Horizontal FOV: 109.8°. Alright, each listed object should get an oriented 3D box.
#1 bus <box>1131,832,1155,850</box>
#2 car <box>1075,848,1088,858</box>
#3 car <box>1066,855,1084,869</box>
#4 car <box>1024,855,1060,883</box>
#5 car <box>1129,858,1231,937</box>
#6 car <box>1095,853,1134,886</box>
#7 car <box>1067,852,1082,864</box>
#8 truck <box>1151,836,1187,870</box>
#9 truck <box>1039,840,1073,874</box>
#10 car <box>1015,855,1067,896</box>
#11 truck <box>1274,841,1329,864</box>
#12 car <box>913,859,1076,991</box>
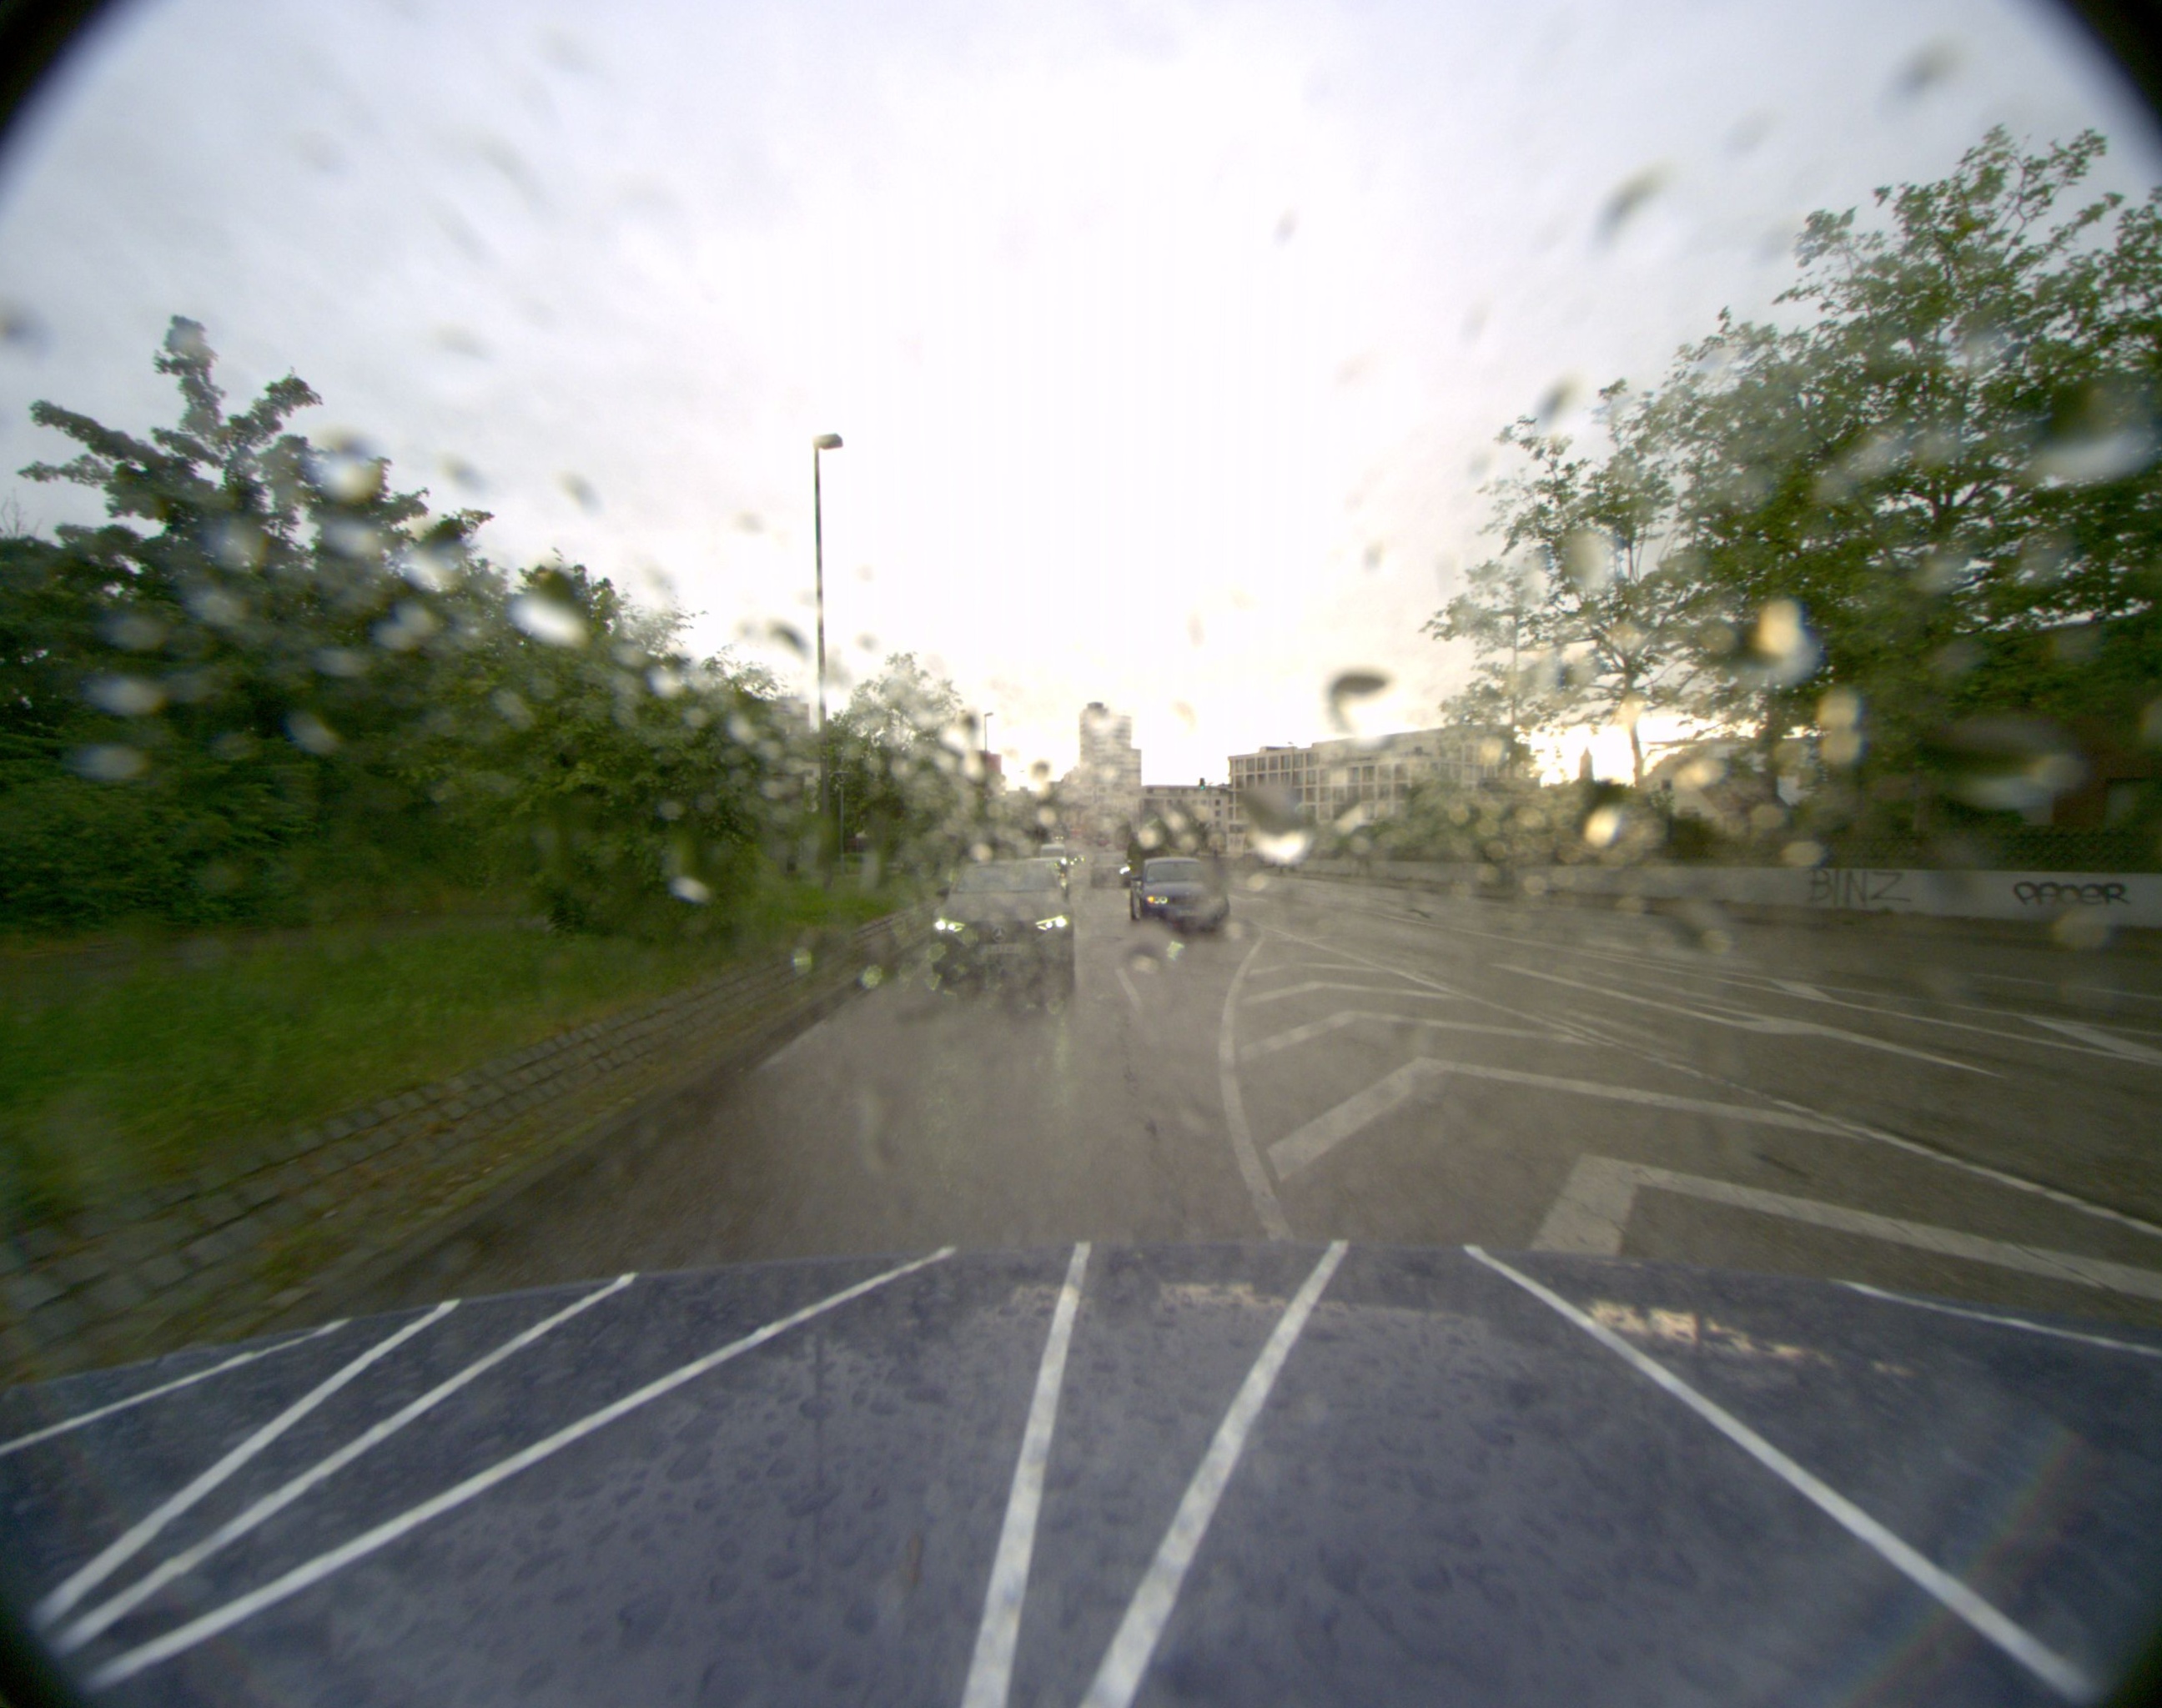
[{"bbox_3d":[14.301,-3.177,177.603,2.952,3.973,18.217,1,1,-4],"label":"bus"},{"bbox_3d":[0.032,-0.198,125.235,1.999,1.543,3.999,-1,0,-1],"label":"car"},{"bbox_3d":[-0.674,0.860,86.388,1.999,1.543,3.999,-1,0,-1],"label":"car"},{"bbox_3d":[-2.194,0.840,43.655,1.718,1.369,3.734,-2,1,2],"label":"car"},{"bbox_3d":[1.975,0.827,16.050,1.787,1.335,3.704,-1,1,2],"label":"car"},{"bbox_3d":[1.621,0.701,36.476,1.718,1.369,3.734,-2,1,2],"label":"car"},{"bbox_3d":[-0.939,0.526,107.503,1.999,1.543,3.999,-1,0,-1],"label":"car"},{"bbox_3d":[6.585,-0.119,57.568,2.168,2.426,6.199,-1,1,2],"label":"truck"},{"bbox_3d":[-1.875,0.144,58.776,2.168,2.426,6.199,-1,1,2],"label":"truck"},{"bbox_3d":[-1.552,0.822,30.780,1.718,1.389,4.035,-2,1,2],"label":"car"},{"bbox_3d":[26.034,-0.175,89.876,6.183,2.524,2.223,1,2,-24],"label":"truck"},{"bbox_3d":[-1.069,0.881,11.570,1.836,1.436,4.550,-2,1,1],"label":"car"}]
